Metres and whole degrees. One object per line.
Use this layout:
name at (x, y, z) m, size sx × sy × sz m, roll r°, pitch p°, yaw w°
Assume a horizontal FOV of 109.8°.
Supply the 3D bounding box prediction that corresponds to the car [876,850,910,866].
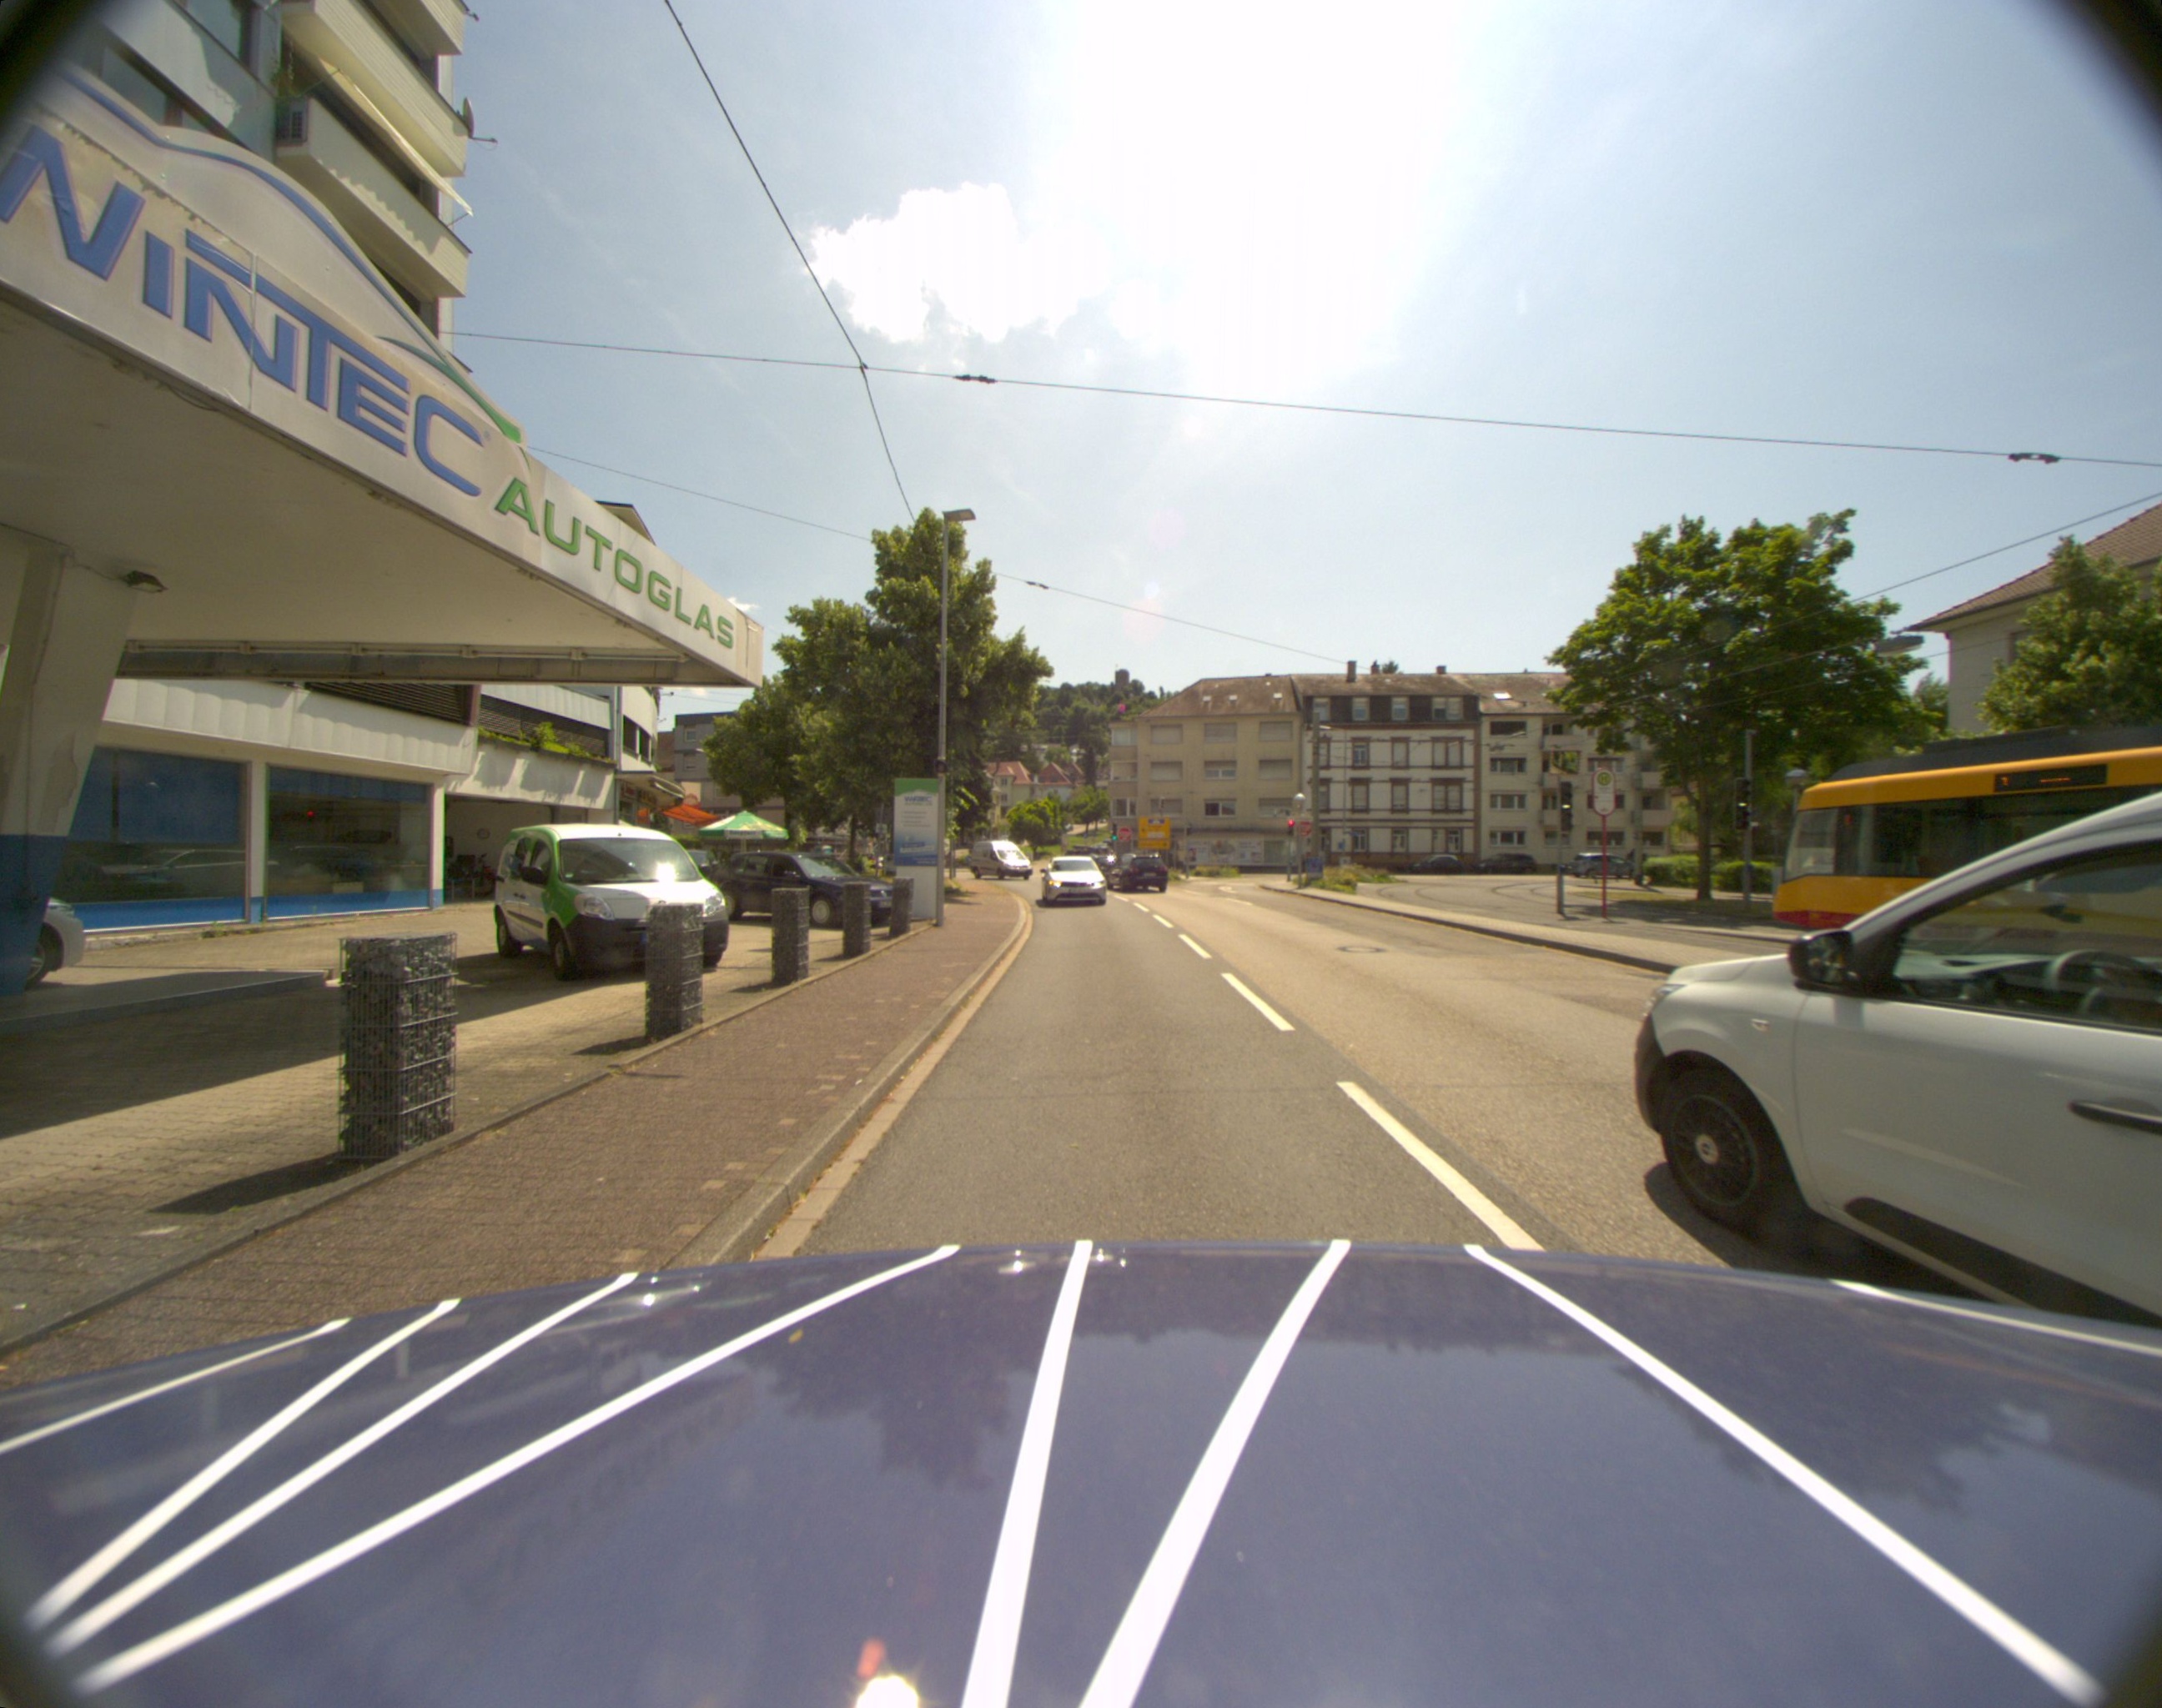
car at (-18.278, 0.343, 74.000) m, size 1.529 × 1.361 × 4.159 m, roll -1°, pitch 1°, yaw 12°

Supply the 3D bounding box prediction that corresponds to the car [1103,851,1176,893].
car at (2.267, 0.660, 30.955) m, size 1.842 × 1.482 × 4.807 m, roll -1°, pitch 1°, yaw -10°

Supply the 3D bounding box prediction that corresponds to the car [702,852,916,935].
car at (-5.471, 0.710, 15.251) m, size 3.962 × 1.420 × 1.703 m, roll 1°, pitch 1°, yaw 25°

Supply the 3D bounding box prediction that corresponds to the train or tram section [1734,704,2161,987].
train or tram section at (14.726, -0.139, 9.128) m, size 2.970 × 3.475 × 12.713 m, roll -2°, pitch 0°, yaw 1°

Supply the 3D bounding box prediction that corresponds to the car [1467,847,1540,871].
car at (30.332, 0.362, 54.650) m, size 4.066 × 1.576 × 2.000 m, roll -2°, pitch 1°, yaw 4°

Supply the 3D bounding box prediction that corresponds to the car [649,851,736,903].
car at (-11.964, 0.641, 23.645) m, size 1.715 × 1.392 × 4.276 m, roll -1°, pitch 1°, yaw -18°

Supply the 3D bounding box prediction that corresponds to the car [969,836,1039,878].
car at (-4.565, 0.141, 44.202) m, size 2.003 × 2.258 × 5.431 m, roll -3°, pitch 2°, yaw -29°

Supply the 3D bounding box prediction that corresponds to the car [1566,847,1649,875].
car at (33.628, 0.441, 48.636) m, size 3.994 × 1.609 × 1.761 m, roll -2°, pitch 1°, yaw 9°

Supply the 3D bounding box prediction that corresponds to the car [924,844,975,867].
car at (-12.309, 0.101, 71.612) m, size 2.398 × 2.002 × 6.378 m, roll -1°, pitch 1°, yaw 12°

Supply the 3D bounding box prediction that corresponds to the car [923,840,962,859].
car at (-15.673, -0.529, 86.261) m, size 2.398 × 2.002 × 5.385 m, roll -1°, pitch 1°, yaw 12°

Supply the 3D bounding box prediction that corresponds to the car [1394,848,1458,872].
car at (25.070, 0.435, 55.296) m, size 3.755 × 1.576 × 2.000 m, roll -2°, pitch 1°, yaw 4°

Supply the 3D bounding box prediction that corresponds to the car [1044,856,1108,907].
car at (-0.204, 0.779, 23.764) m, size 1.818 × 1.371 × 4.390 m, roll -1°, pitch 1°, yaw -2°

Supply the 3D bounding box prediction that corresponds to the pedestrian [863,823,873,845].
pedestrian at (-20.332, -1.908, 72.604) m, size 0.625 × 2.002 × 0.706 m, roll -1°, pitch 2°, yaw 9°

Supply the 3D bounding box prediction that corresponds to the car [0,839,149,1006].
car at (-11.349, 0.667, 6.129) m, size 1.750 × 1.617 × 4.706 m, roll 0°, pitch 0°, yaw 2°

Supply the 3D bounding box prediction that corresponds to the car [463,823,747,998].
car at (-6.259, 0.571, 9.800) m, size 4.277 × 1.779 × 1.827 m, roll -1°, pitch 2°, yaw 40°

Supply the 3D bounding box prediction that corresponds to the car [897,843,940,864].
car at (-16.992, -0.055, 79.730) m, size 2.398 × 2.002 × 5.385 m, roll -1°, pitch 1°, yaw 12°

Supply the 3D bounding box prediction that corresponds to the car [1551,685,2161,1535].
car at (3.175, 0.534, 1.621) m, size 1.707 × 1.840 × 4.713 m, roll -2°, pitch 1°, yaw 4°

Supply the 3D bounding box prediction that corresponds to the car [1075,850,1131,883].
car at (1.039, 0.568, 38.181) m, size 1.842 × 1.482 × 4.122 m, roll -2°, pitch 1°, yaw -12°
